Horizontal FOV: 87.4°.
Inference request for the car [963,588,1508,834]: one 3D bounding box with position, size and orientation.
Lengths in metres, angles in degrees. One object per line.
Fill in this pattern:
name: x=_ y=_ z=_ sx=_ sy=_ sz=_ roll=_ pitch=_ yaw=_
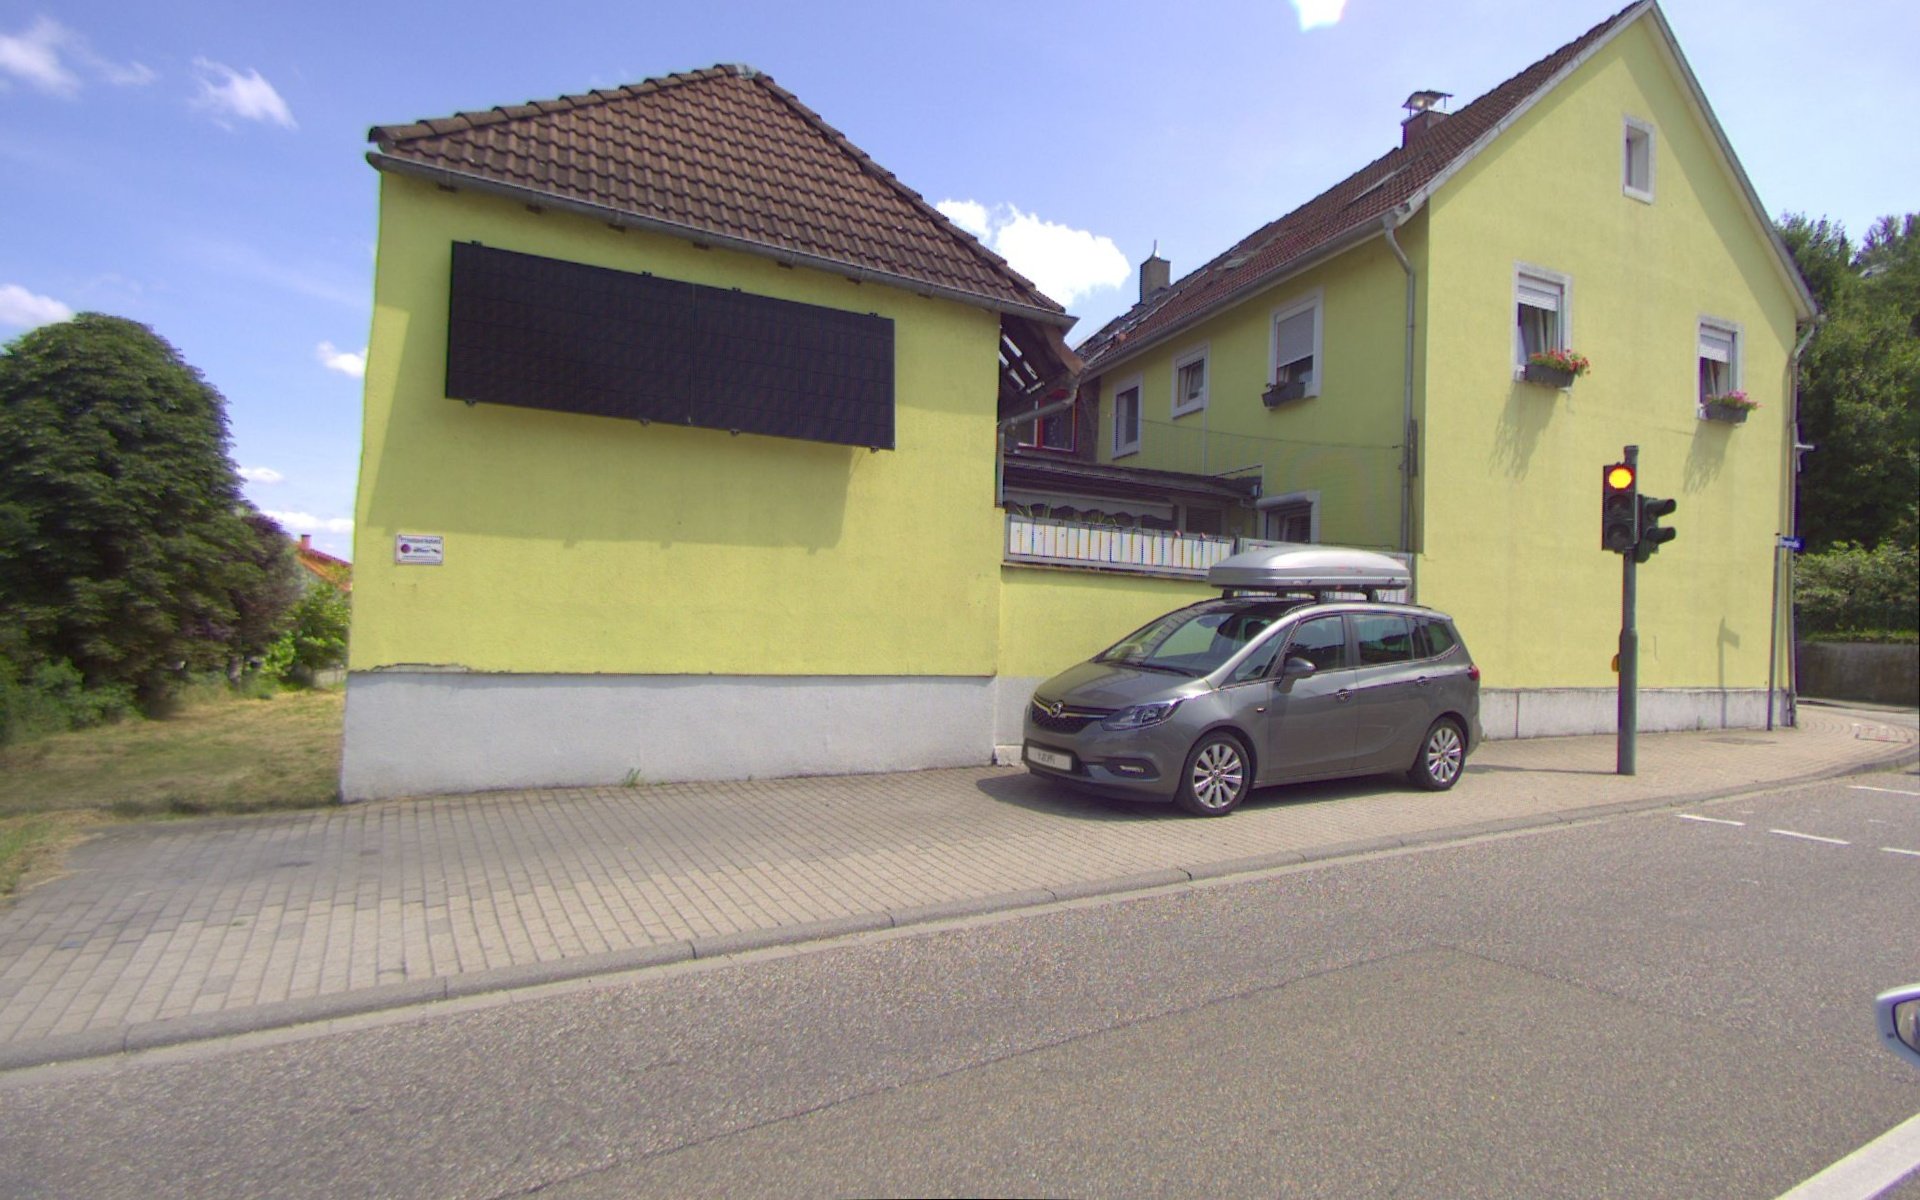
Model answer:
car: x=2.503 y=0.804 z=8.854 sx=4.575 sy=1.657 sz=1.984 roll=2 pitch=1 yaw=-30
